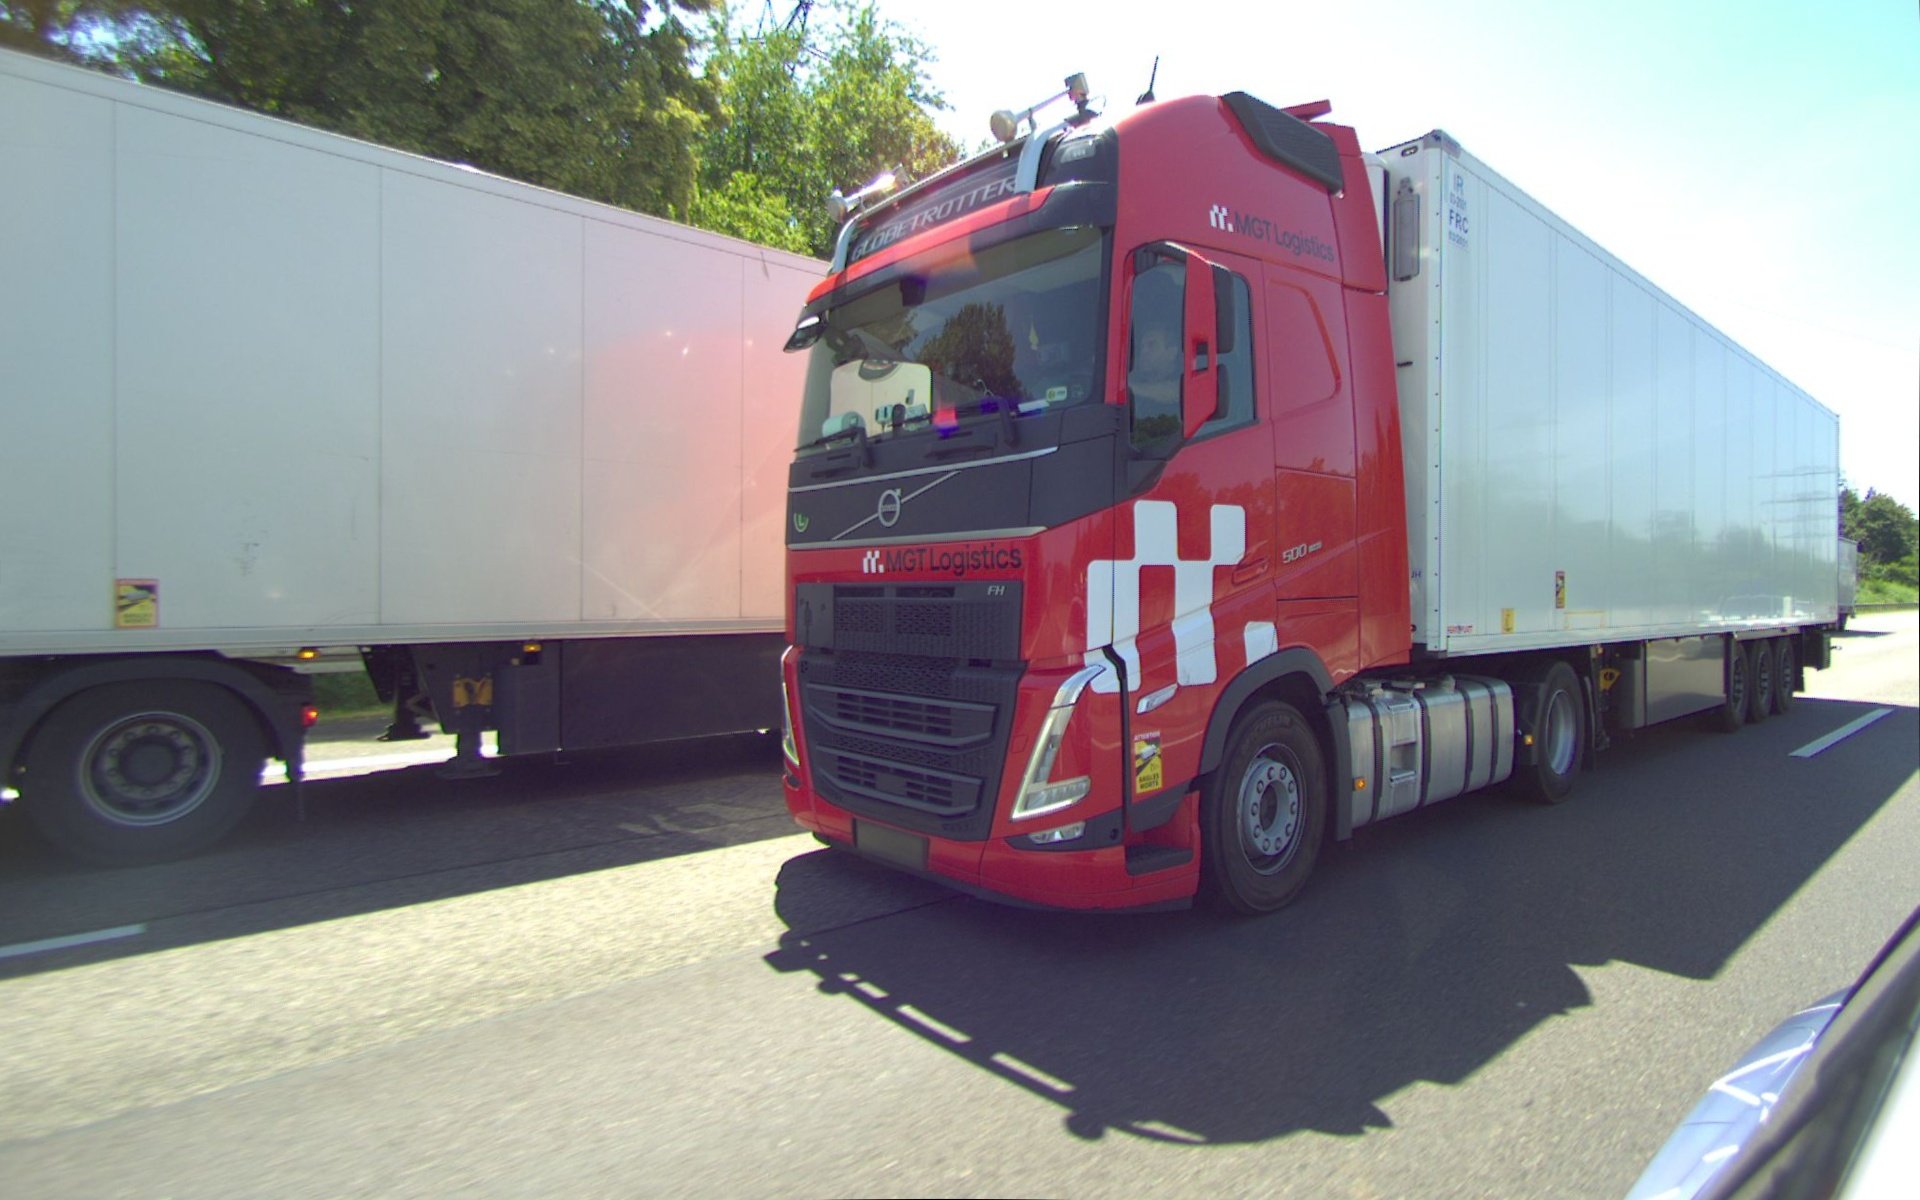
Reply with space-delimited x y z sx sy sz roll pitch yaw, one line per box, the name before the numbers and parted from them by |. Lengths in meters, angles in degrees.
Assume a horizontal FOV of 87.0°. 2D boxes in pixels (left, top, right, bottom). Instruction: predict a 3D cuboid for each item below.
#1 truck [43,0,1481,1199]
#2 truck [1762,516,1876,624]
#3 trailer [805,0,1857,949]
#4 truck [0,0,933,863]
truck | -0.273 -0.680 4.826 5.996 4.036 2.946 -1 1 -41
truck | 33.836 -1.096 39.690 9.869 3.819 1.985 0 1 -42
trailer | 5.962 -0.768 10.355 15.920 4.068 2.942 -1 1 -42
truck | -5.296 -0.848 6.157 10.784 4.144 3.031 -1 1 -40
